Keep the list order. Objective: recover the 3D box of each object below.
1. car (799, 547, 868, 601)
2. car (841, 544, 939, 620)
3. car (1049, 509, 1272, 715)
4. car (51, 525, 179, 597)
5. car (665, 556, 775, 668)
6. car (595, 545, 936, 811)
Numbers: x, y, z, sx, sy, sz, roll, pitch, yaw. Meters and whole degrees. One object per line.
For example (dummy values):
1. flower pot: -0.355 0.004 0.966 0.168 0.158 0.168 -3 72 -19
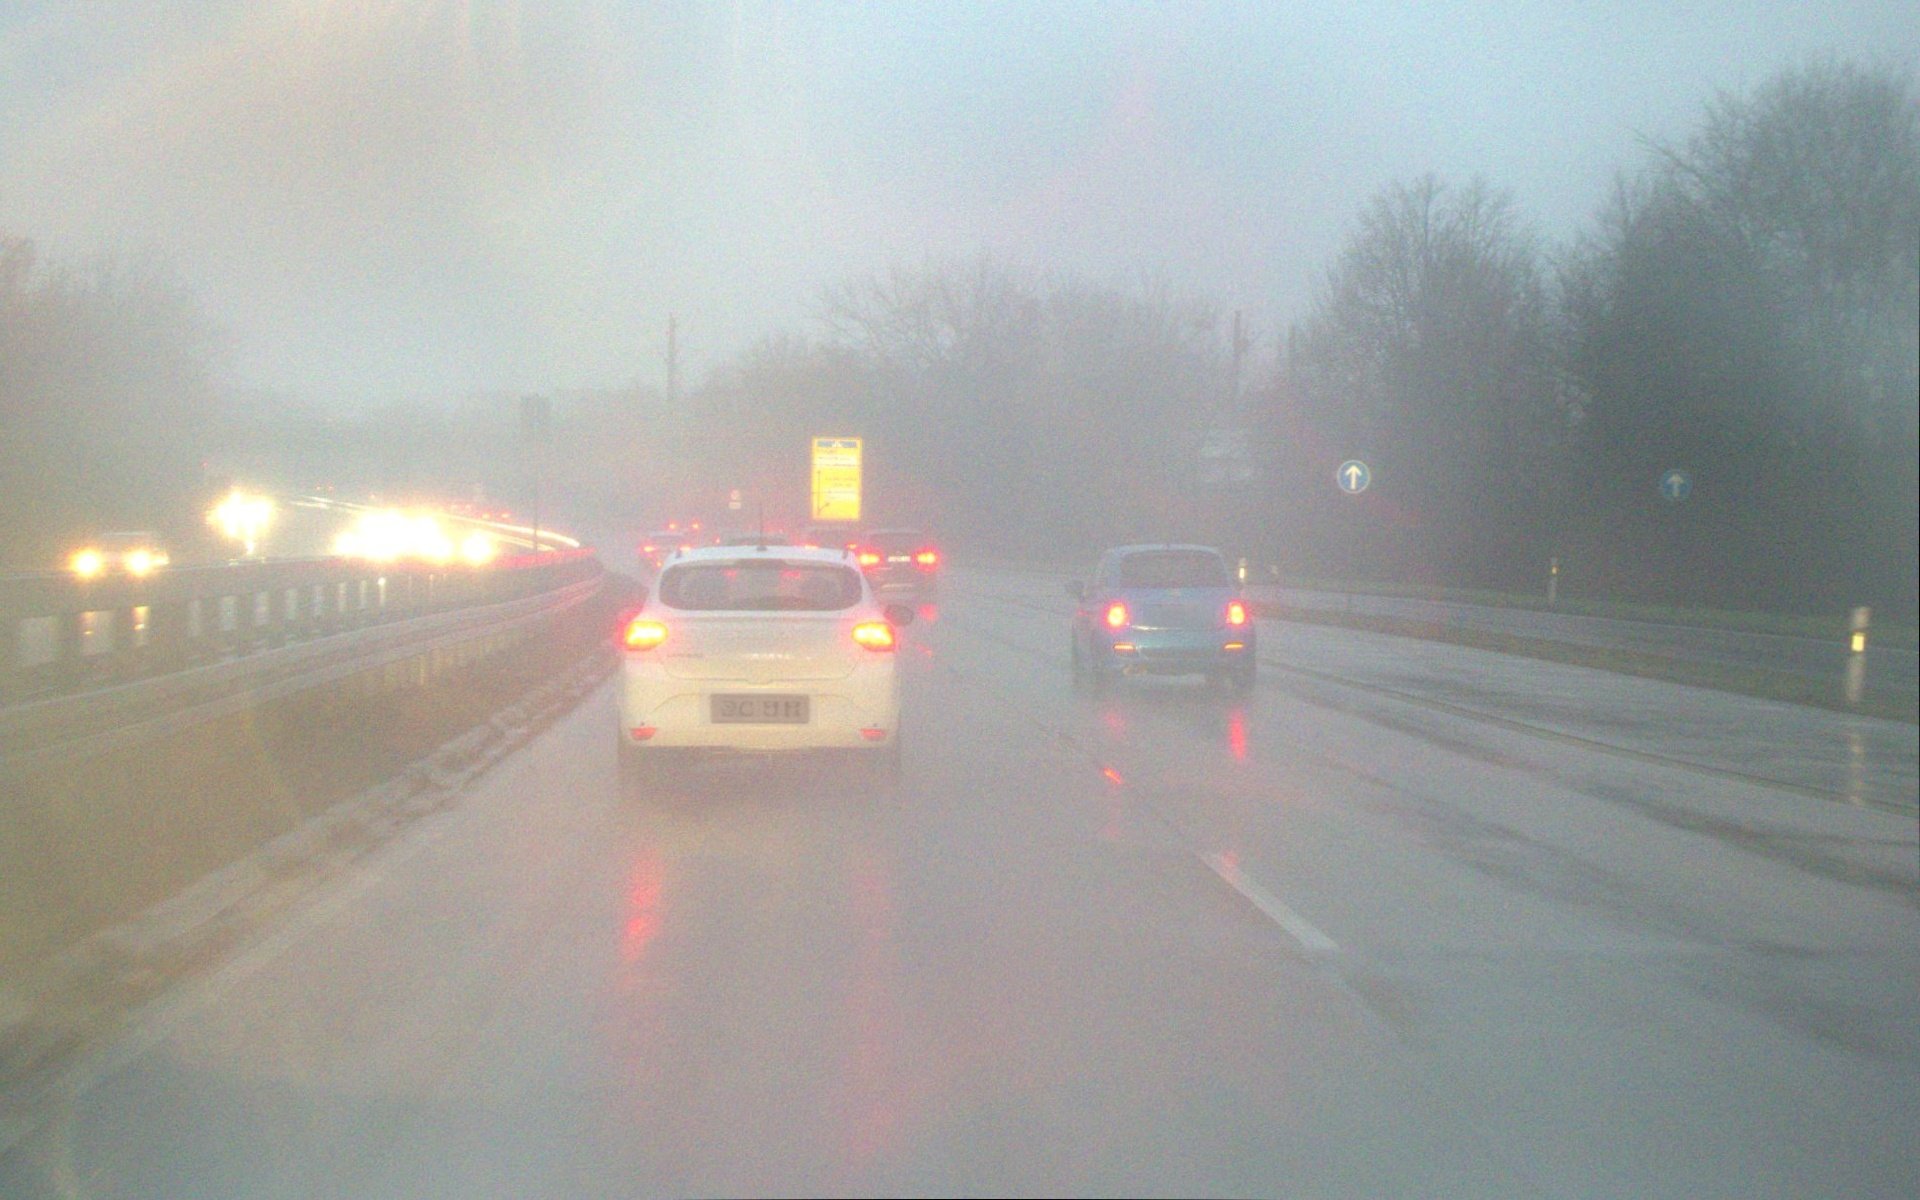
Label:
1. car: -3.748 -0.789 101.422 1.932 1.541 3.774 1 1 -3
2. car: -1.629 -0.423 78.991 1.932 1.541 3.774 -5 1 -4
3. car: 2.025 0.089 35.827 1.932 2.012 3.774 1 1 -2
4. car: -23.036 -1.076 93.893 1.994 1.907 4.445 1 1 6
5. car: -4.546 0.201 65.056 1.993 2.007 4.001 1 1 -4
6. car: -1.222 0.438 22.669 2.024 1.569 4.000 1 1 -2
